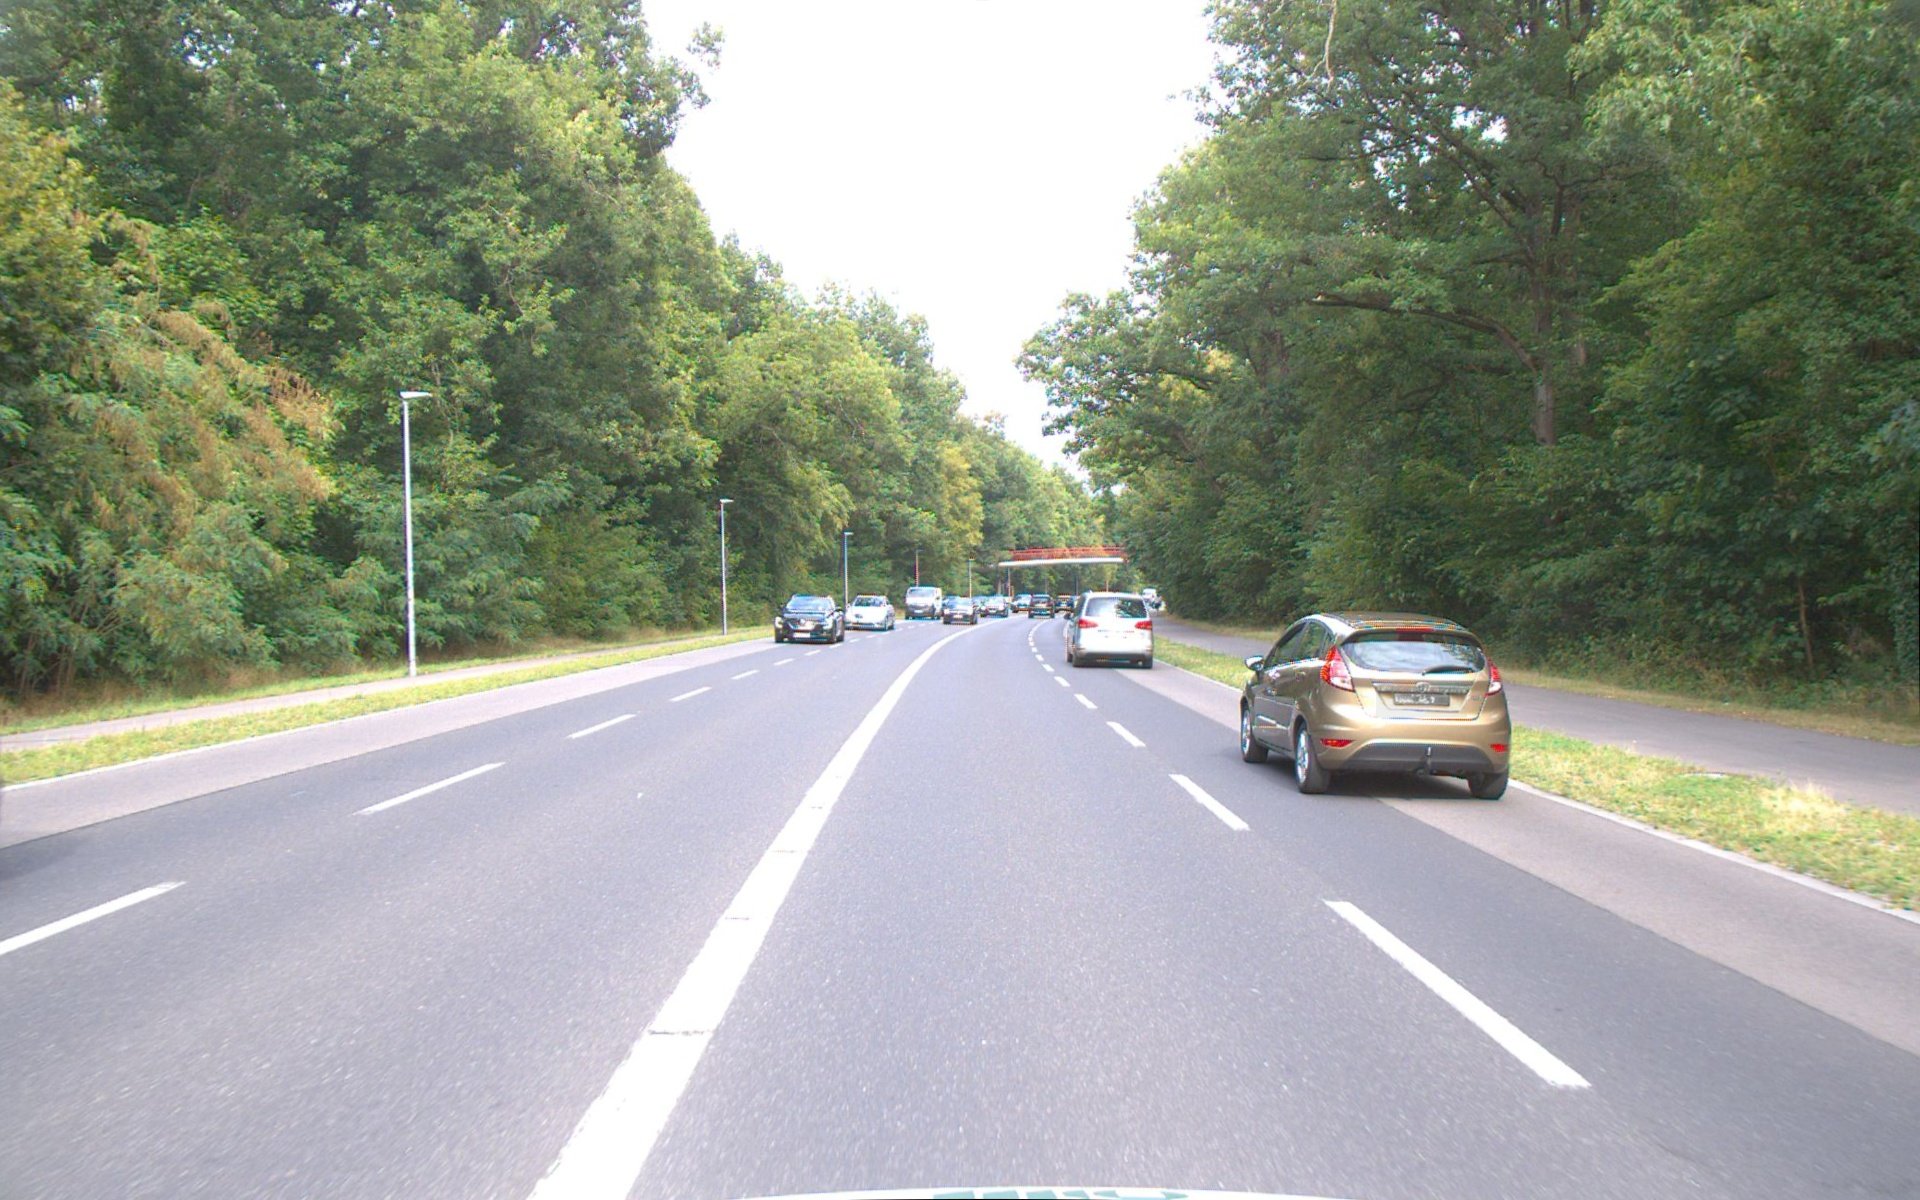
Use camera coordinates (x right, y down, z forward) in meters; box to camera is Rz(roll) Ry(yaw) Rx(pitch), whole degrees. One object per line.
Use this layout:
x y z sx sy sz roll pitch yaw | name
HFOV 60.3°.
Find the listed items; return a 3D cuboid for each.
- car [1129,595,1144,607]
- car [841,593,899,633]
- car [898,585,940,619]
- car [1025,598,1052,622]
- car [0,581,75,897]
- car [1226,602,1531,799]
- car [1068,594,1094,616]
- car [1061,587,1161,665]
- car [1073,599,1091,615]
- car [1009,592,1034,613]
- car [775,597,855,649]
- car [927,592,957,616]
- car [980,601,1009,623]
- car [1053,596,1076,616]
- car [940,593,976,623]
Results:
24.774 0.135 231.652 1.951 1.736 4.003 0 0 8 | car
-3.856 0.583 71.592 1.952 1.590 4.605 2 -1 3 | car
-2.509 0.151 102.346 1.951 2.049 5.057 0 -1 7 | car
5.640 0.711 117.929 1.693 1.615 4.002 2 -1 5 | car
-5.540 0.641 6.311 1.857 1.510 4.538 0 -1 0 | car
3.520 0.795 14.619 1.602 1.445 3.999 2 -1 -1 | car
10.675 0.421 146.024 1.951 1.780 4.003 2 -1 8 | car
3.455 0.603 38.514 1.953 1.635 4.000 2 -1 0 | car
12.619 0.714 171.562 1.780 1.593 4.001 2 -1 3 | car
5.615 0.233 150.757 1.921 1.736 4.002 -2 -1 6 | car
-4.479 0.725 51.827 1.842 1.468 4.405 2 -1 3 | car
-1.270 0.316 118.526 1.846 1.585 4.520 1 -1 4 | car
2.513 0.870 119.757 1.846 1.504 4.521 2 -1 4 | car
9.971 0.579 158.007 1.951 1.727 4.002 2 -1 6 | car
-0.102 0.454 89.701 1.621 1.512 3.868 2 -1 4 | car
